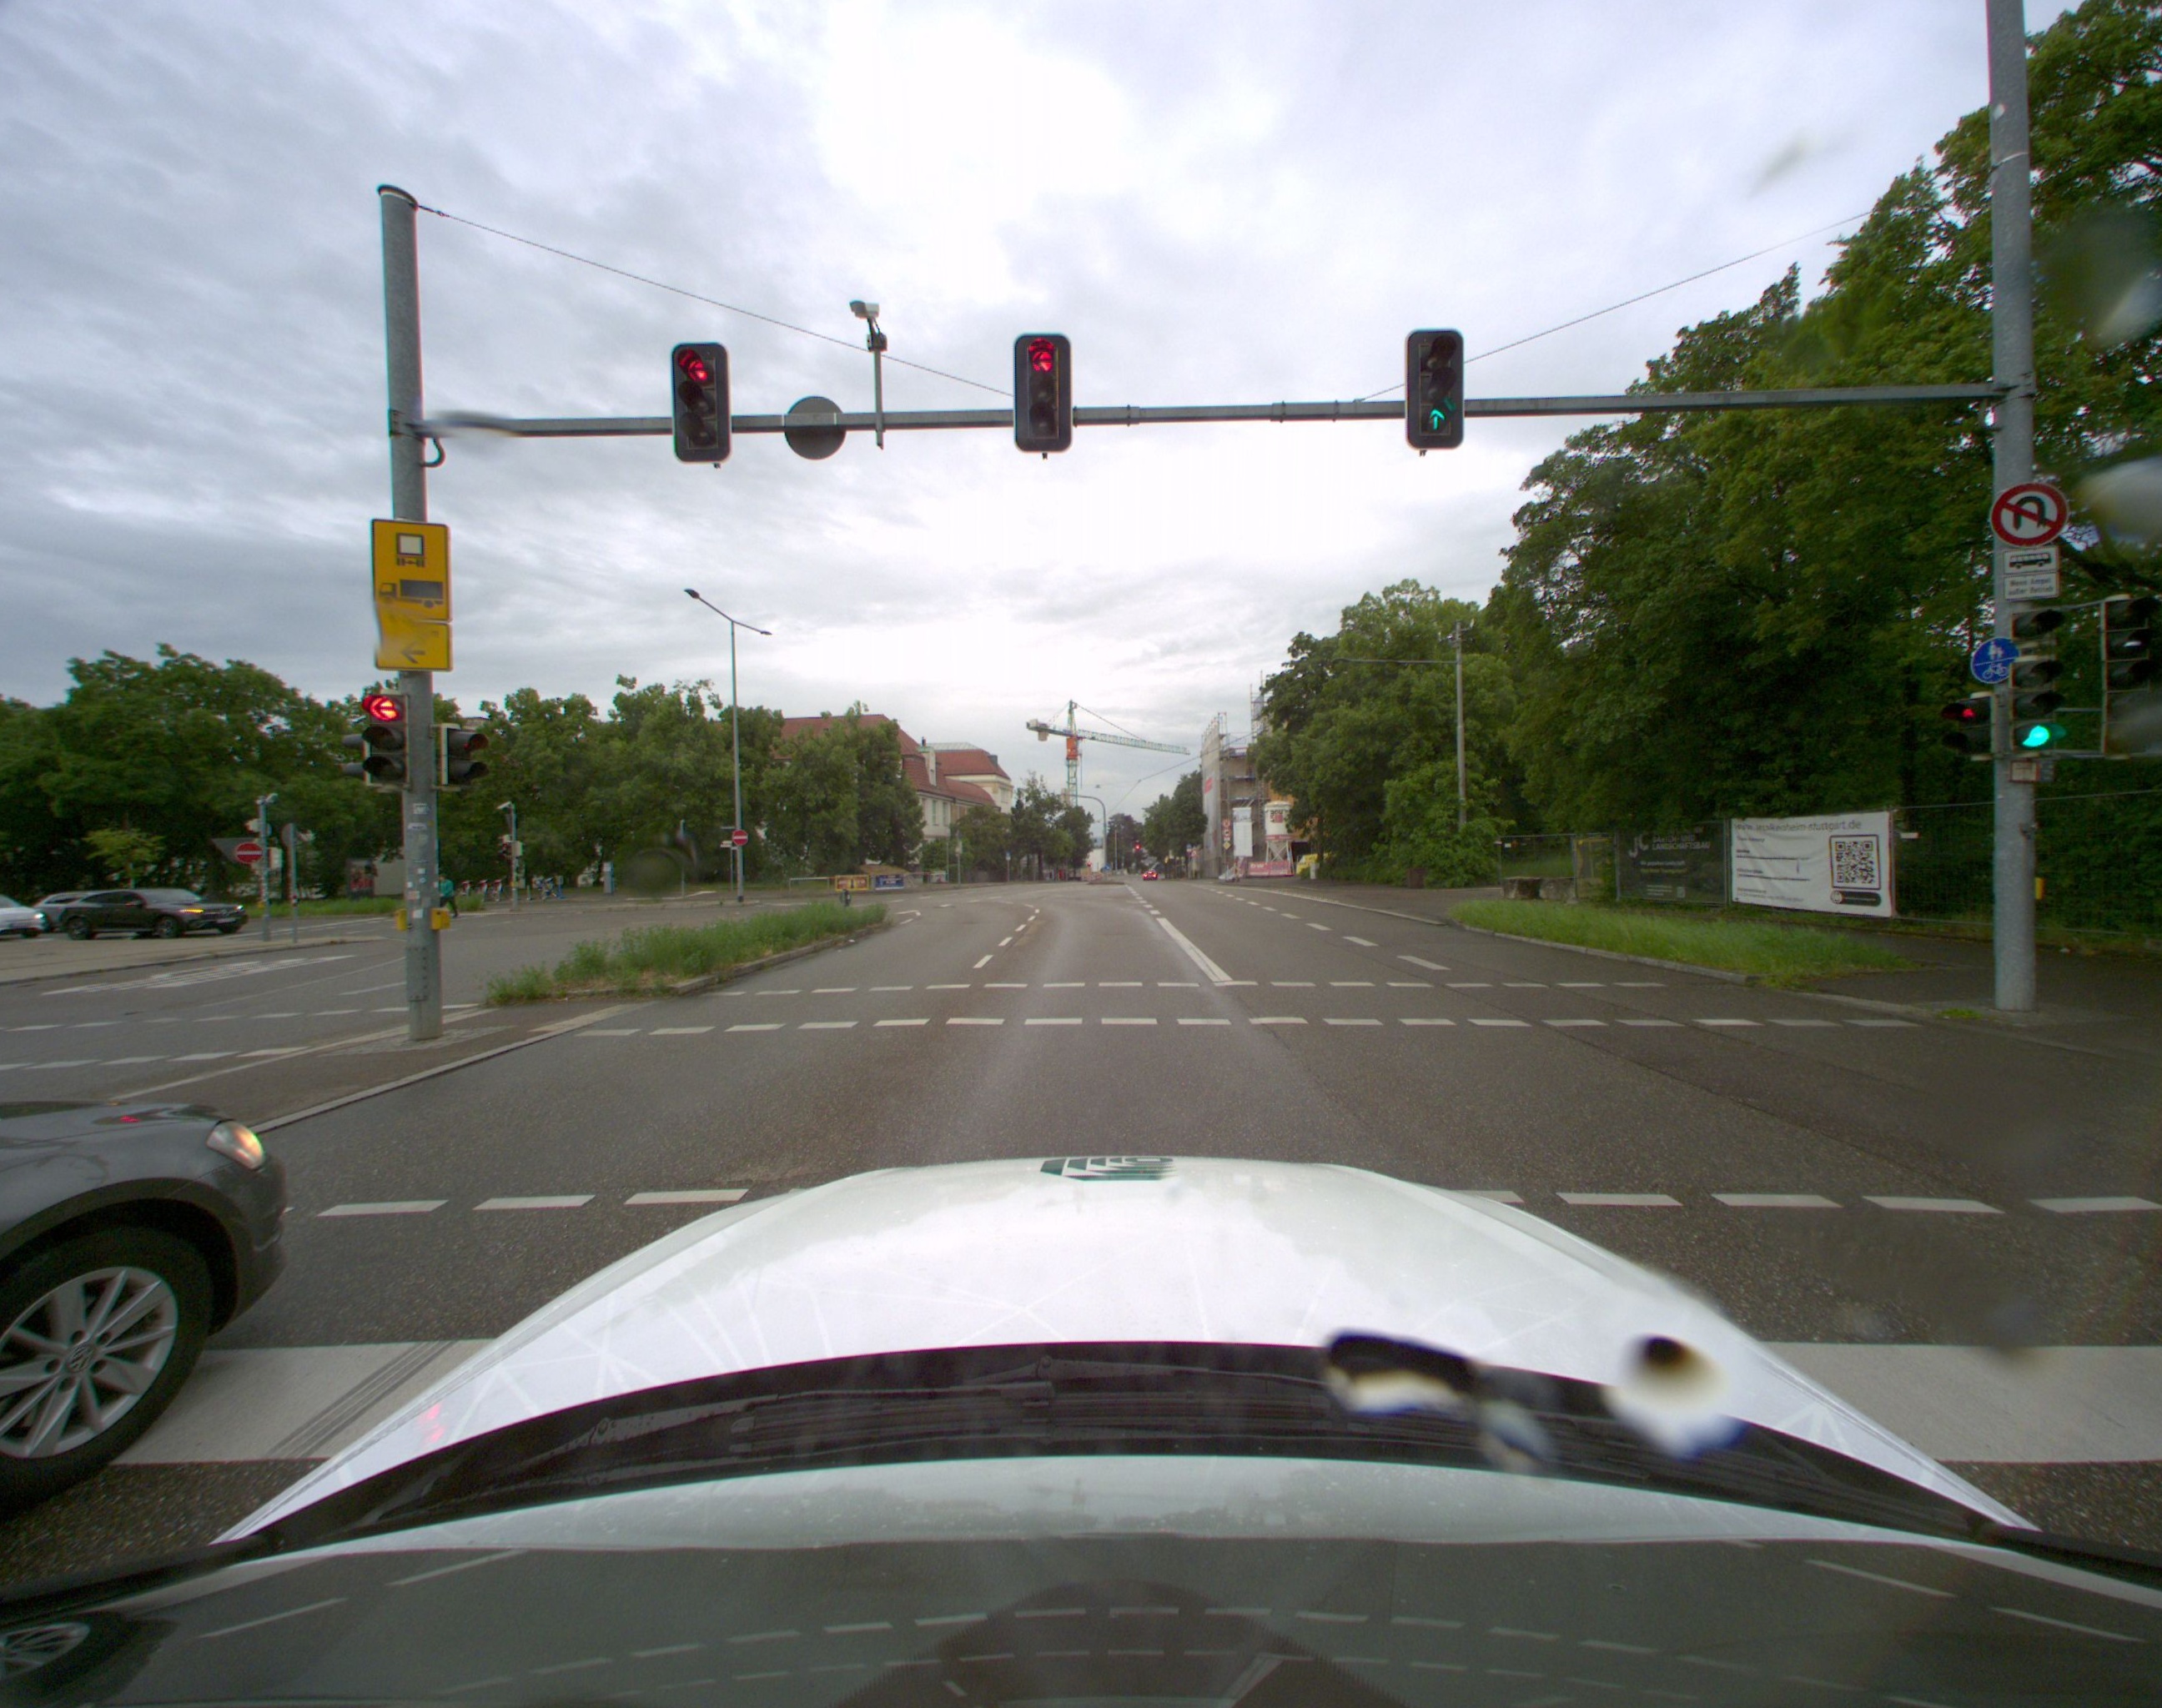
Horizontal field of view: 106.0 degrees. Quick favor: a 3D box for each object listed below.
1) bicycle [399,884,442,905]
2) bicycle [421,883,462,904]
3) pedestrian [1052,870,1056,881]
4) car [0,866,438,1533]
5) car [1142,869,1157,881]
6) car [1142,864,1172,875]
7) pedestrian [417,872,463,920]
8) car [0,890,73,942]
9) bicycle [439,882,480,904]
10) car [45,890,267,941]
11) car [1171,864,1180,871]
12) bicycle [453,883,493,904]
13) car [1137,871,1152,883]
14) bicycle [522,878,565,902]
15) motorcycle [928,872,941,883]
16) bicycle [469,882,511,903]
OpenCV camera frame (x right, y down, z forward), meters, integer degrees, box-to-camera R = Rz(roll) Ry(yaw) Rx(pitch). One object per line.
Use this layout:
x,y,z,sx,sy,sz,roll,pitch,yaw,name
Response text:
-35.967,2.183,44.367,0.649,1.071,1.982,0,-1,2,bicycle
-34.990,2.147,44.582,0.649,1.071,1.982,0,-1,2,bicycle
-4.245,3.348,128.290,0.490,1.645,0.535,-1,-1,12,pedestrian
-3.376,0.803,0.846,1.809,1.481,4.378,-2,0,2,car
10.486,3.220,124.766,1.986,1.750,4.001,-2,0,1,car
17.149,3.378,183.468,6.210,2.403,2.828,0,-1,-33,car
-23.717,1.541,30.127,0.917,1.727,0.948,-1,-1,8,pedestrian
-36.498,2.043,27.052,3.539,1.594,2.001,0,-1,1,car
-33.911,2.120,44.451,0.649,1.071,1.982,0,-1,2,bicycle
-30.077,1.990,26.587,5.006,1.500,2.001,0,-1,1,car
25.438,3.498,218.957,1.980,1.750,4.014,-2,0,13,car
-33.021,2.123,44.277,0.649,1.071,1.982,0,-1,2,bicycle
10.193,3.656,130.957,1.986,1.750,4.001,-2,0,1,car
-29.439,1.944,44.617,0.987,1.249,1.982,0,-1,2,bicycle
-11.739,1.904,65.381,0.846,0.877,0.877,0,-1,1,motorcycle
-32.272,2.072,44.508,0.798,1.071,1.982,0,-1,2,bicycle
